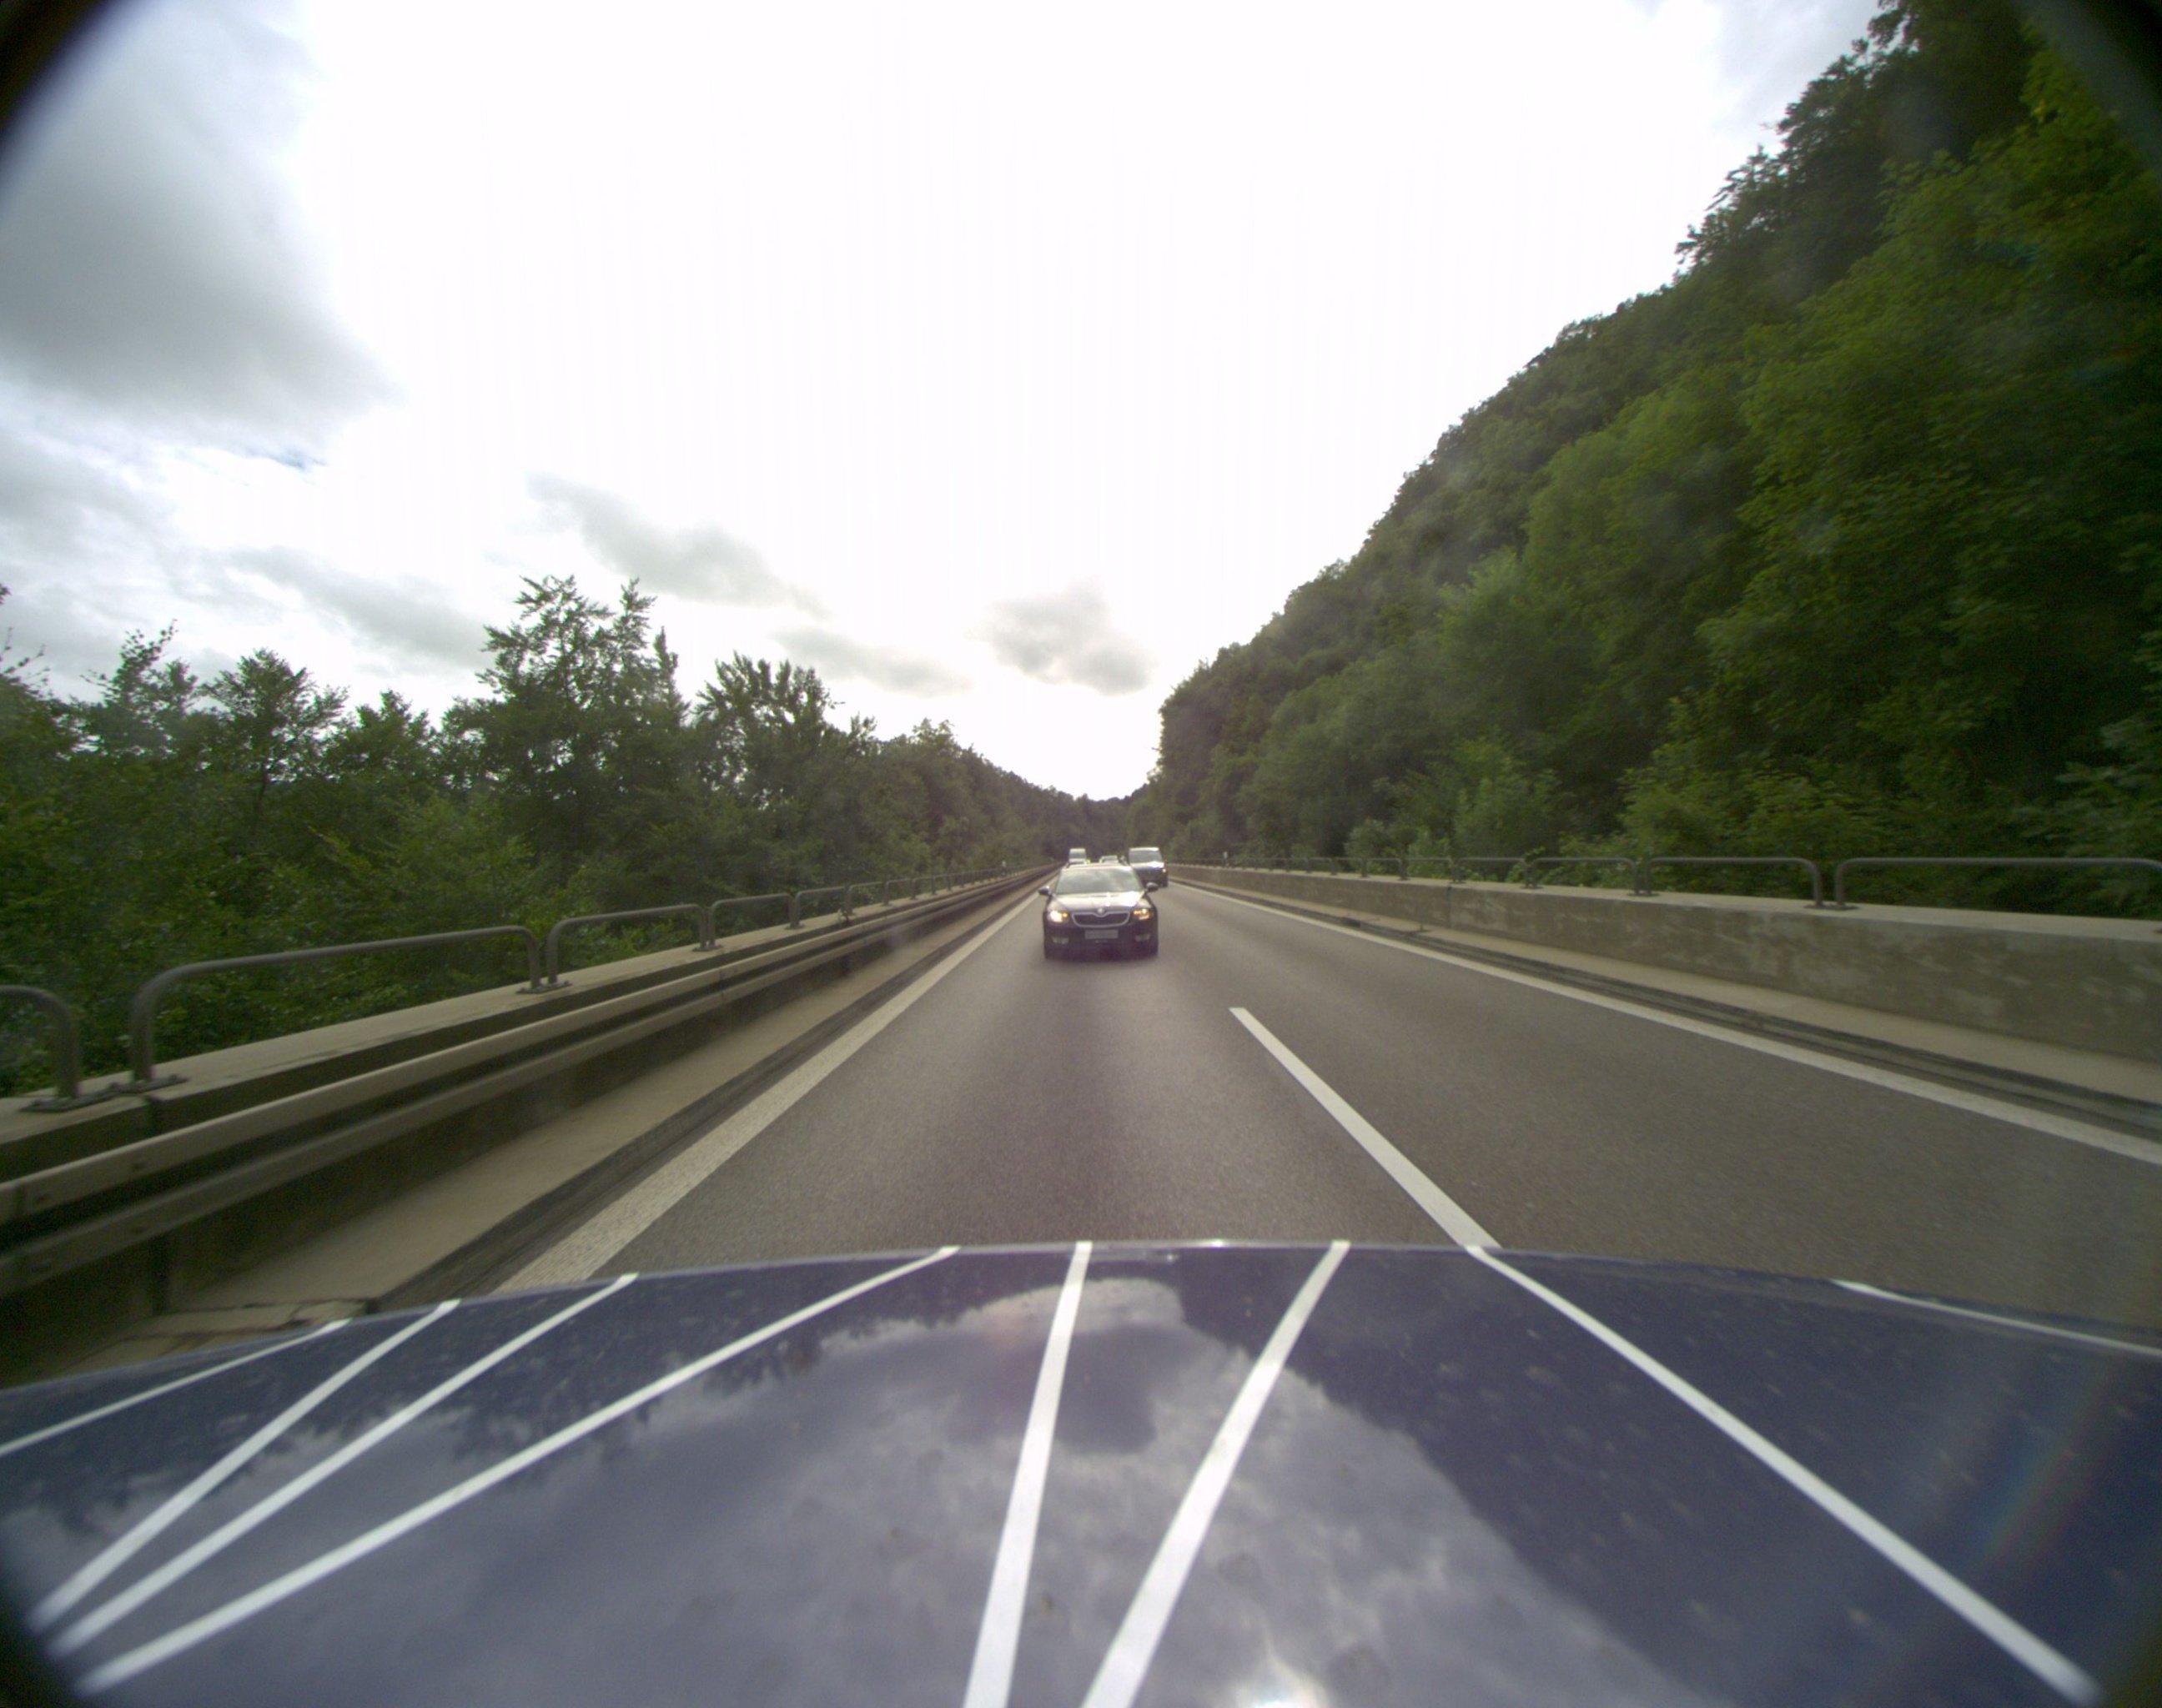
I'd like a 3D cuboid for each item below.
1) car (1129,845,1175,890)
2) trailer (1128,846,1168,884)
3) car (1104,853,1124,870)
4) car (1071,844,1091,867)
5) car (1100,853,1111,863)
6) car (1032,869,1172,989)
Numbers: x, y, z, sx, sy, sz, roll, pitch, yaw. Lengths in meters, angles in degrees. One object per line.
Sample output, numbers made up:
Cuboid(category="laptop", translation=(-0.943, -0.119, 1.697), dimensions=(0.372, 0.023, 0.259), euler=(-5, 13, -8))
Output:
Cuboid(category="car", translation=(3.521, 0.614, 38.550), dimensions=(1.998, 2.002, 5.541), euler=(-4, 0, 3))
Cuboid(category="trailer", translation=(3.756, 0.595, 43.031), dimensions=(1.976, 1.928, 3.431), euler=(-4, 0, 2))
Cuboid(category="car", translation=(3.528, 0.755, 80.996), dimensions=(1.976, 1.584, 5.585), euler=(-1, 1, 3))
Cuboid(category="car", translation=(0.007, 0.206, 87.046), dimensions=(2.099, 2.547, 5.921), euler=(1, -1, 1))
Cuboid(category="car", translation=(4.128, 0.683, 128.934), dimensions=(1.823, 1.546, 4.002), euler=(1, -1, 2))
Cuboid(category="car", translation=(0.263, 0.956, 11.412), dimensions=(1.638, 1.384, 4.499), euler=(-2, -1, 0))
